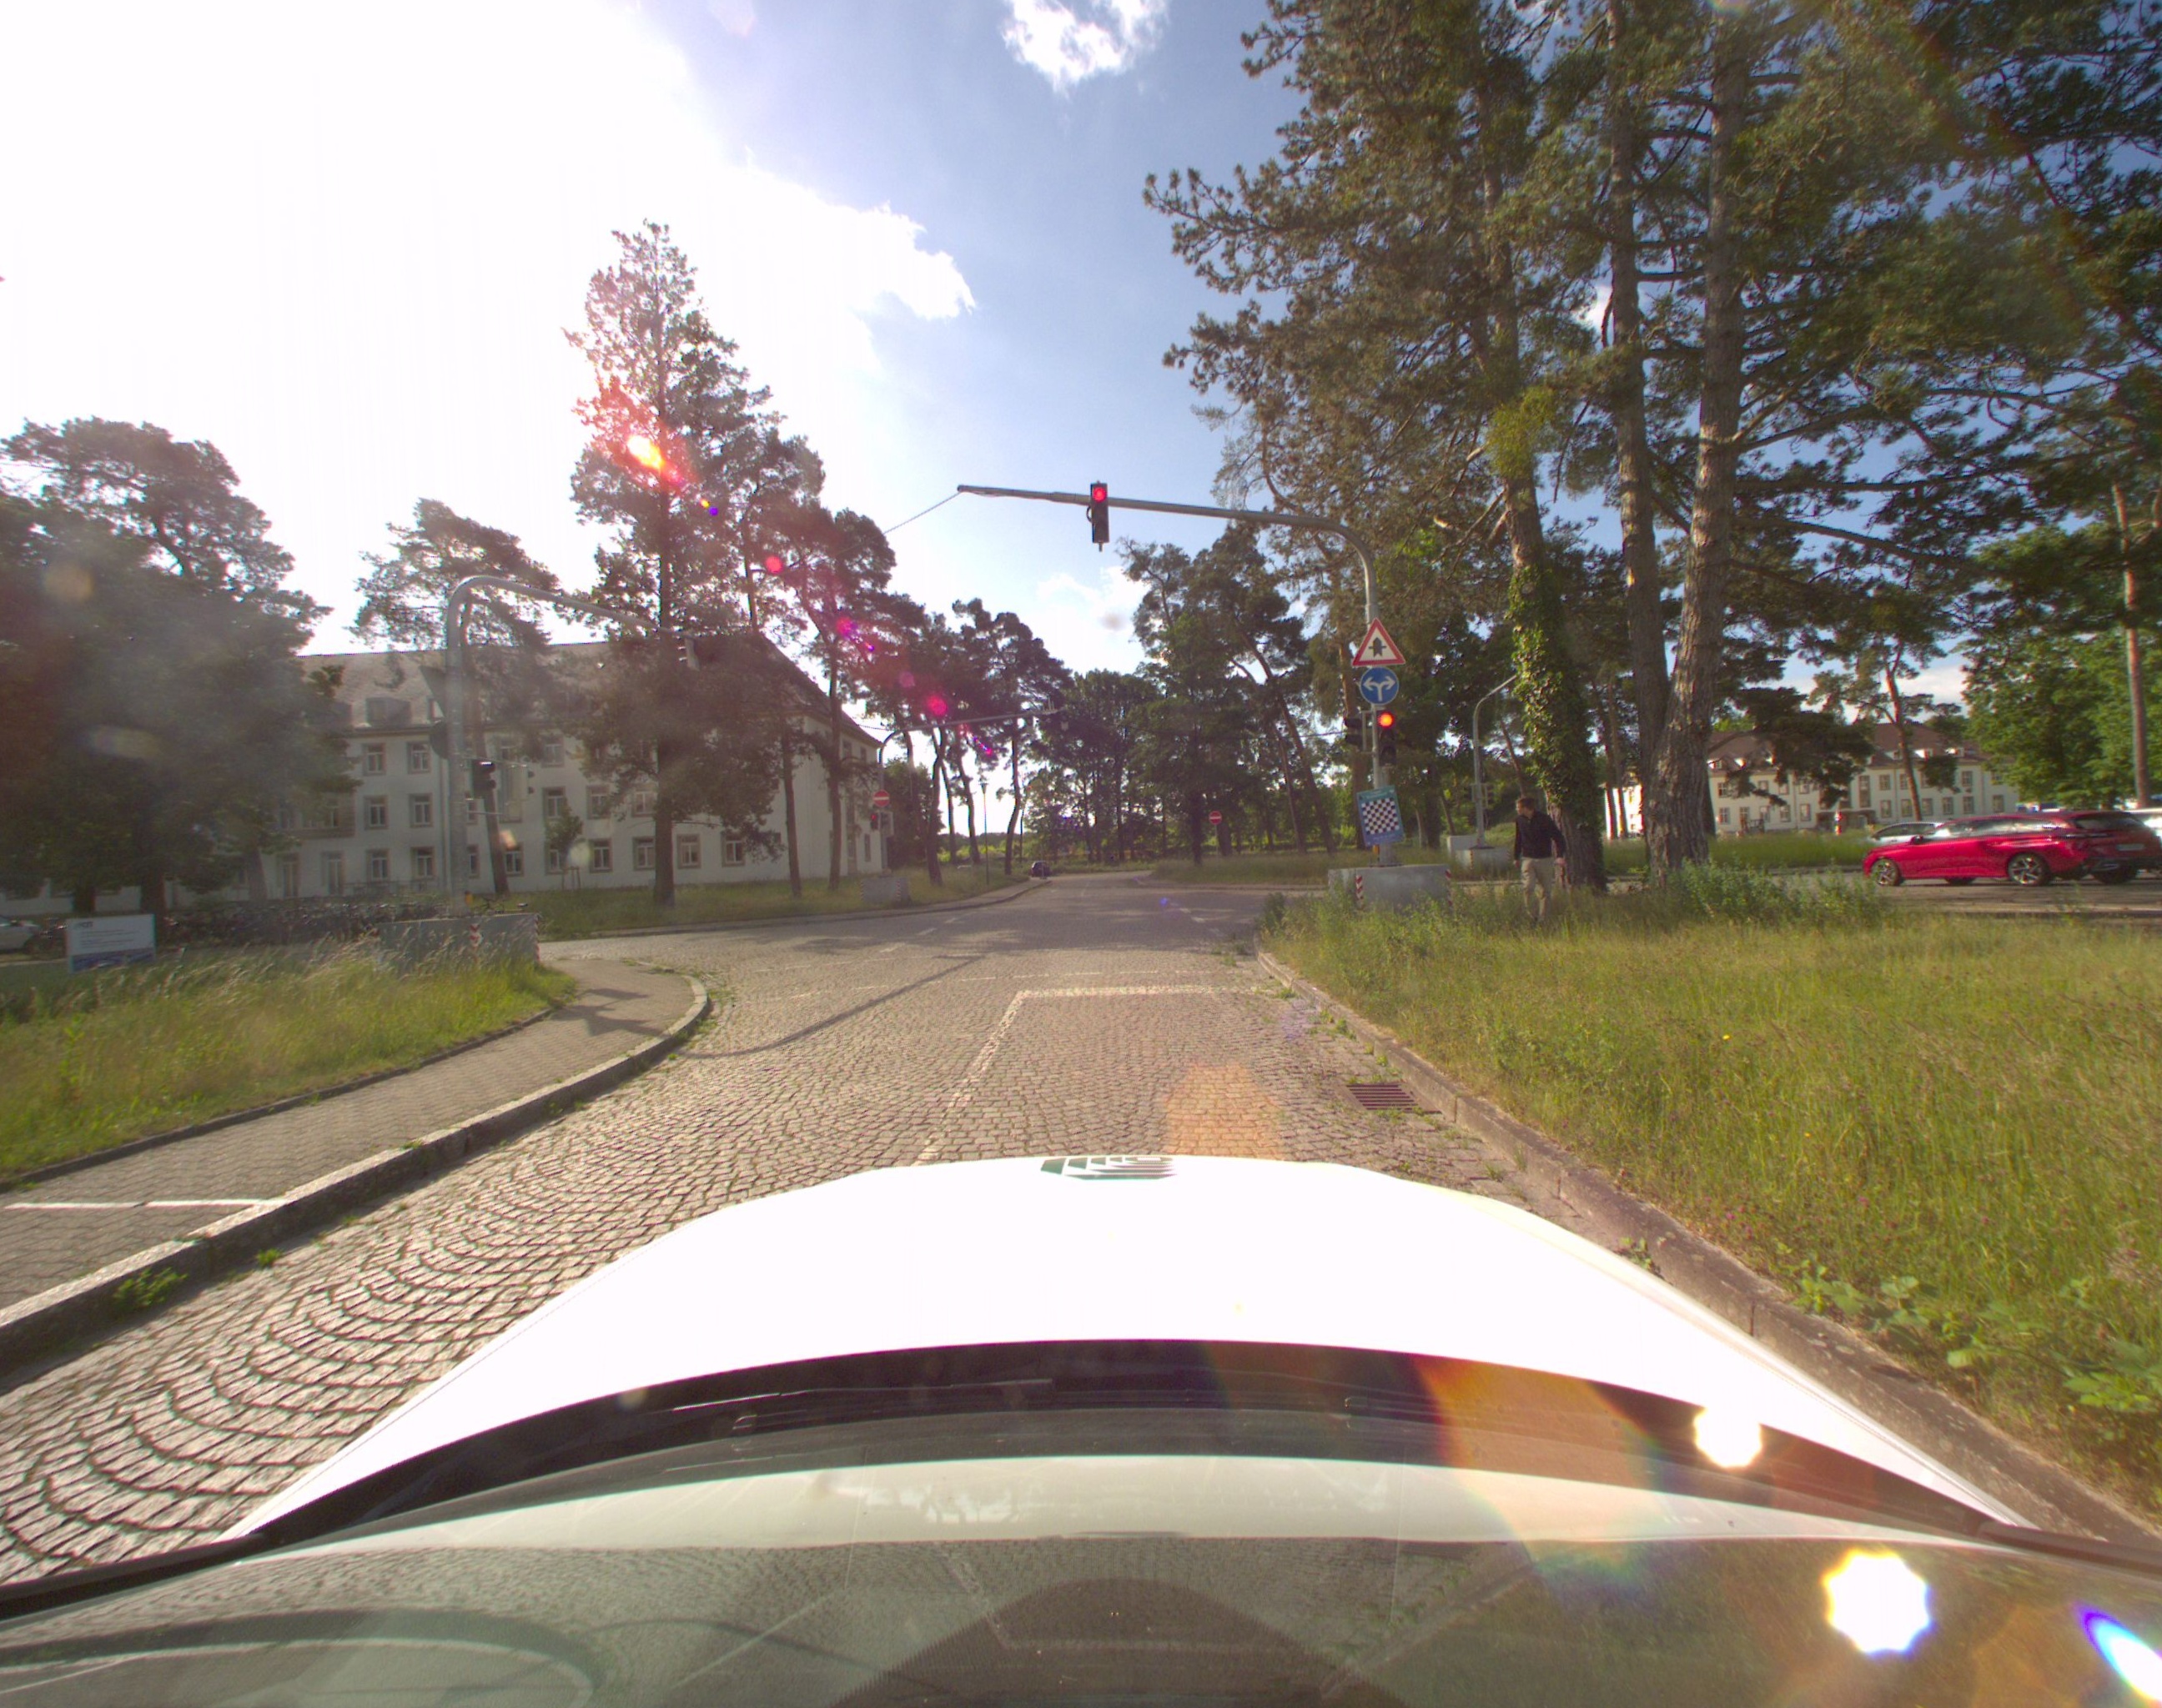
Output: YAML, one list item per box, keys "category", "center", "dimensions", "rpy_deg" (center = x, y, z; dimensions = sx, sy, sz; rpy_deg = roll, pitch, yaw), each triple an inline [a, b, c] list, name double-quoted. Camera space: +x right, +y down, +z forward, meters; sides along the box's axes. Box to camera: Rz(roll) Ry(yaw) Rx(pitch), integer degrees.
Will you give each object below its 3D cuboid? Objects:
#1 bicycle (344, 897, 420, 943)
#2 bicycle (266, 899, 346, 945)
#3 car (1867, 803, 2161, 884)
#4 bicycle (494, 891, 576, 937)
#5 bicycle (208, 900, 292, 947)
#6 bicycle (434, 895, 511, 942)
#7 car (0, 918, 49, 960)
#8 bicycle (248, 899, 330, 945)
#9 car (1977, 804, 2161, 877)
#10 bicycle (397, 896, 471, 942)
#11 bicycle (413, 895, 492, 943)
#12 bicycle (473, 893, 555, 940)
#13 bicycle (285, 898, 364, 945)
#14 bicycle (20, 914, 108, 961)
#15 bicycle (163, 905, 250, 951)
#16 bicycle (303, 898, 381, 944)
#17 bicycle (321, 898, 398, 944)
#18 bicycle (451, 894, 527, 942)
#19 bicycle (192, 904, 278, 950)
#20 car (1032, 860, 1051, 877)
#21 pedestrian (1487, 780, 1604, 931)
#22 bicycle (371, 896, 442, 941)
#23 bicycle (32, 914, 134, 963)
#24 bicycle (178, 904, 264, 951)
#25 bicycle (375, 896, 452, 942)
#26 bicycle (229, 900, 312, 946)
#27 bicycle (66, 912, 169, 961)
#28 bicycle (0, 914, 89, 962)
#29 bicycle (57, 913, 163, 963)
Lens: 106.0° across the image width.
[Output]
- category: "bicycle"
  center: [-21.312, 1.985, 24.881]
  dimensions: [0.512, 1.220, 2.016]
  rpy_deg: [-3, 0, 1]
- category: "bicycle"
  center: [-23.558, 2.043, 24.814]
  dimensions: [0.512, 1.220, 1.937]
  rpy_deg: [-3, 0, 1]
- category: "car"
  center: [18.794, -0.151, 16.562]
  dimensions: [1.649, 1.399, 4.130]
  rpy_deg: [-2, -1, 1]
- category: "bicycle"
  center: [-16.191, 1.768, 24.158]
  dimensions: [1.938, 1.220, 0.635]
  rpy_deg: [-3, 0, 0]
- category: "bicycle"
  center: [-25.306, 2.094, 24.848]
  dimensions: [0.512, 1.220, 1.937]
  rpy_deg: [-3, 0, 1]
- category: "bicycle"
  center: [-18.032, 1.888, 24.201]
  dimensions: [0.631, 1.220, 2.124]
  rpy_deg: [-3, 0, 1]
- category: "car"
  center: [-34.074, 2.710, 24.428]
  dimensions: [1.504, 1.211, 3.596]
  rpy_deg: [-3, 0, 3]
- category: "bicycle"
  center: [-24.104, 2.059, 24.838]
  dimensions: [0.512, 1.220, 1.937]
  rpy_deg: [-3, 0, 1]
- category: "car"
  center: [21.670, -0.281, 16.729]
  dimensions: [1.773, 1.379, 4.239]
  rpy_deg: [-3, -2, 0]
- category: "bicycle"
  center: [-19.484, 1.931, 24.598]
  dimensions: [0.570, 1.220, 1.990]
  rpy_deg: [-3, 0, 1]
- category: "bicycle"
  center: [-18.636, 1.905, 24.210]
  dimensions: [0.631, 1.220, 2.104]
  rpy_deg: [-3, 0, 1]
- category: "bicycle"
  center: [-16.307, 1.790, 23.445]
  dimensions: [1.855, 1.220, 0.635]
  rpy_deg: [-3, 0, 0]
- category: "bicycle"
  center: [-23.004, 2.027, 24.801]
  dimensions: [0.512, 1.220, 1.954]
  rpy_deg: [-3, 0, 1]
- category: "bicycle"
  center: [-30.448, 2.473, 24.424]
  dimensions: [0.514, 1.220, 1.823]
  rpy_deg: [-3, 0, -9]
- category: "bicycle"
  center: [-26.643, 2.224, 24.862]
  dimensions: [0.512, 1.220, 1.937]
  rpy_deg: [-3, 0, 1]
- category: "bicycle"
  center: [-22.478, 2.015, 24.832]
  dimensions: [0.512, 1.220, 1.977]
  rpy_deg: [-3, 0, 1]
- category: "bicycle"
  center: [-21.960, 2.004, 24.837]
  dimensions: [0.512, 1.220, 1.977]
  rpy_deg: [-3, 0, 1]
- category: "bicycle"
  center: [-17.549, 1.873, 24.208]
  dimensions: [0.631, 1.220, 2.114]
  rpy_deg: [-3, 0, 1]
- category: "bicycle"
  center: [-25.766, 2.199, 24.852]
  dimensions: [0.512, 1.220, 1.937]
  rpy_deg: [-3, 0, 1]
- category: "car"
  center: [-3.910, 1.417, 80.676]
  dimensions: [1.705, 1.496, 3.917]
  rpy_deg: [-3, 0, -1]
- category: "pedestrian"
  center: [5.938, 0.024, 10.450]
  dimensions: [1.157, 1.796, 1.069]
  rpy_deg: [-3, 0, 30]
- category: "bicycle"
  center: [-20.794, 1.971, 25.155]
  dimensions: [0.546, 1.220, 1.900]
  rpy_deg: [-3, 0, 1]
- category: "bicycle"
  center: [-29.111, 2.441, 23.772]
  dimensions: [0.509, 1.220, 1.841]
  rpy_deg: [-3, 0, 38]
- category: "bicycle"
  center: [-26.195, 2.211, 24.853]
  dimensions: [0.512, 1.220, 1.937]
  rpy_deg: [-3, 0, 1]
- category: "bicycle"
  center: [-20.229, 1.955, 24.731]
  dimensions: [0.576, 1.220, 2.029]
  rpy_deg: [-3, 0, 1]
- category: "bicycle"
  center: [-24.696, 2.076, 24.858]
  dimensions: [0.512, 1.220, 1.937]
  rpy_deg: [-3, 0, 1]
- category: "bicycle"
  center: [-28.001, 2.369, 23.713]
  dimensions: [1.837, 1.220, 0.510]
  rpy_deg: [-3, 0, -35]
- category: "bicycle"
  center: [-31.054, 2.490, 24.409]
  dimensions: [0.513, 1.220, 1.824]
  rpy_deg: [-3, 0, -7]
- category: "bicycle"
  center: [-27.611, 2.363, 23.203]
  dimensions: [1.837, 1.220, 0.510]
  rpy_deg: [-3, 0, -35]
